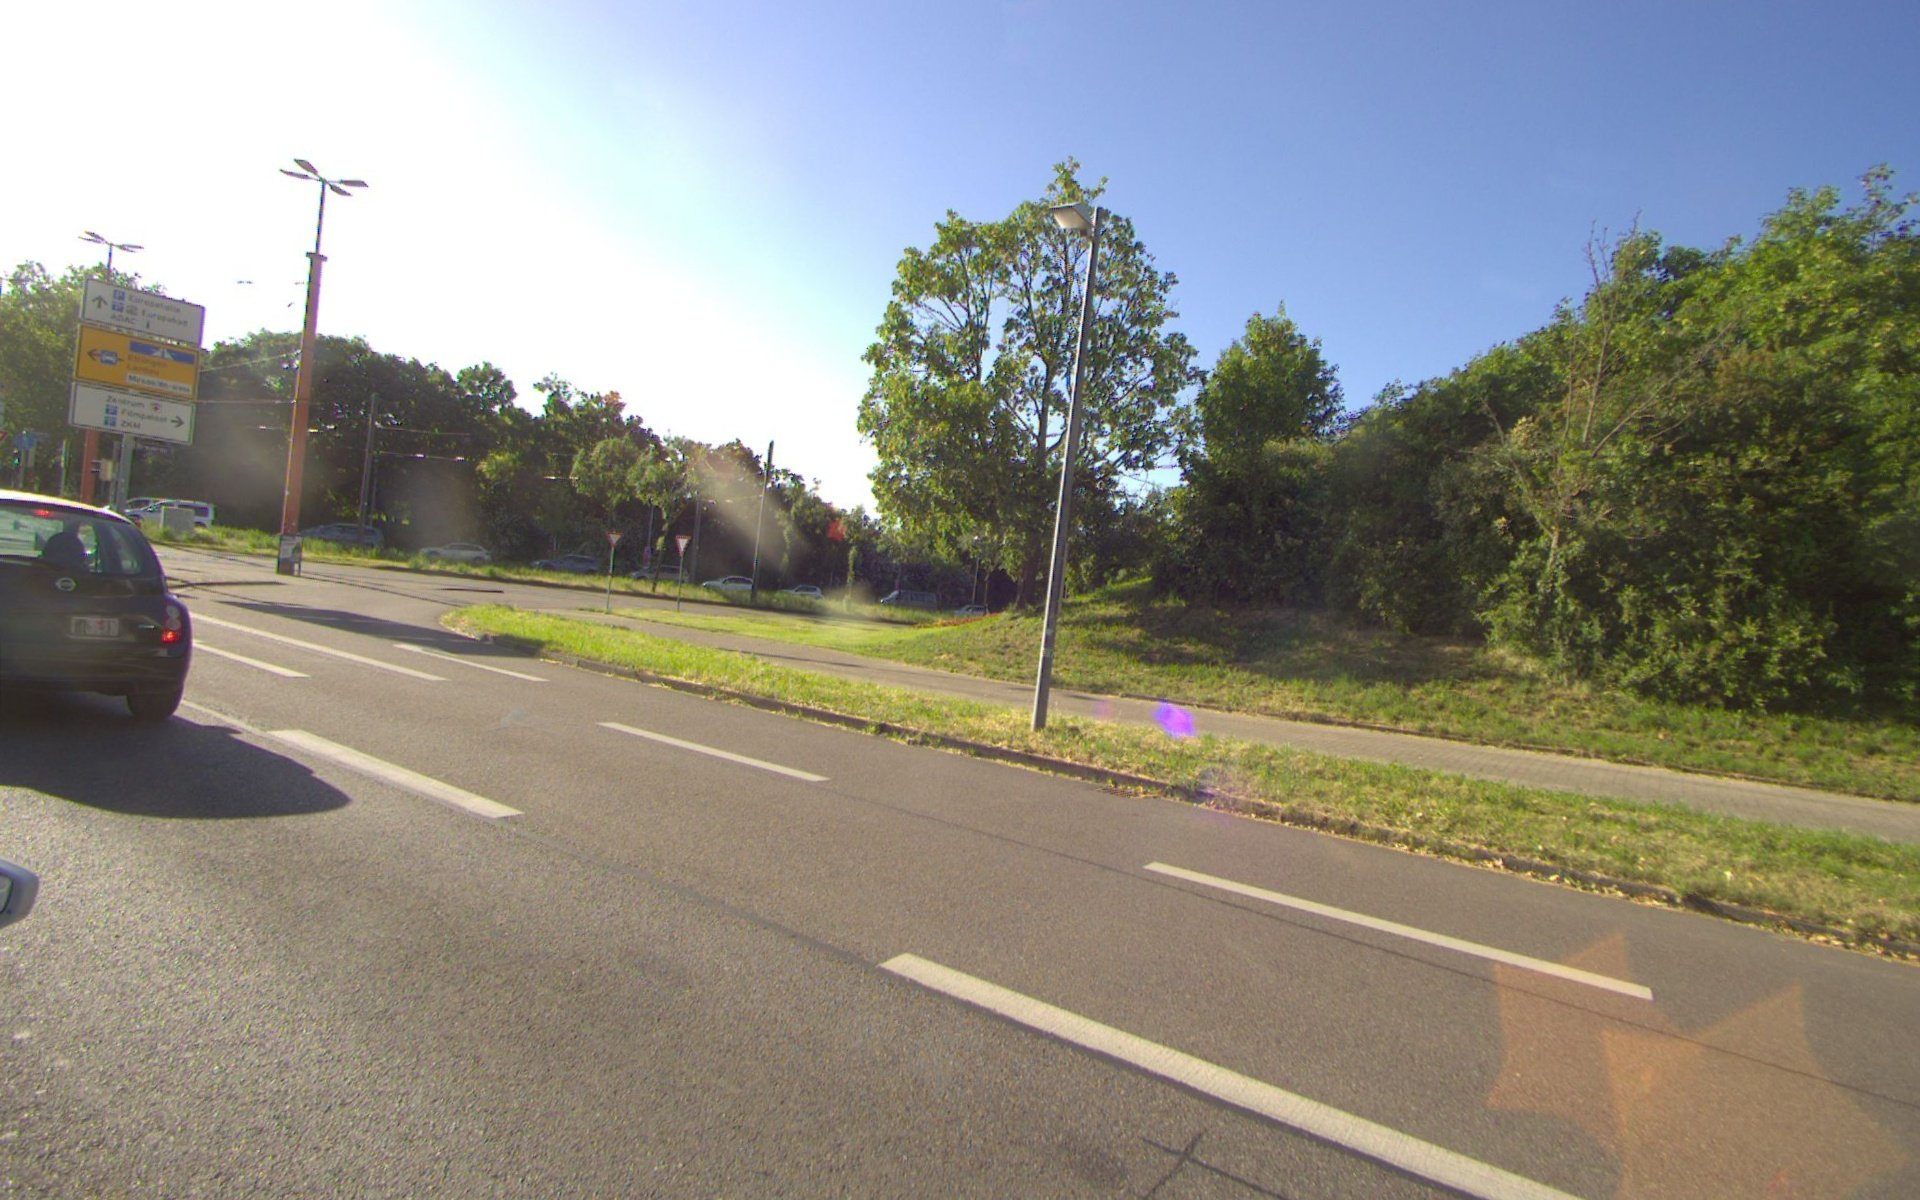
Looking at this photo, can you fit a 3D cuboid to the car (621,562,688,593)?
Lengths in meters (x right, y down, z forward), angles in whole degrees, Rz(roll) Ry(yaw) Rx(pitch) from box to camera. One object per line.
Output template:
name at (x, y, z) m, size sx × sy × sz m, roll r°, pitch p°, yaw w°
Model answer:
car at (-21.473, -1.580, 70.754) m, size 4.087 × 1.664 × 1.839 m, roll 7°, pitch 0°, yaw -29°

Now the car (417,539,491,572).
car at (-31.905, -2.805, 63.418) m, size 3.937 × 1.458 × 1.673 m, roll 9°, pitch -2°, yaw -32°

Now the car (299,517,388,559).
car at (-35.372, -3.525, 57.787) m, size 4.151 × 1.663 × 1.746 m, roll 9°, pitch -2°, yaw -32°

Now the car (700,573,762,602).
car at (-15.903, -0.847, 69.803) m, size 3.789 × 1.541 × 1.683 m, roll 7°, pitch 0°, yaw -29°

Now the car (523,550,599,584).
car at (-25.386, -2.084, 63.999) m, size 4.092 × 1.617 × 1.813 m, roll 7°, pitch 0°, yaw -33°

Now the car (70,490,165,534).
car at (-46.002, -4.773, 55.030) m, size 3.619 × 1.674 × 1.666 m, roll 9°, pitch -2°, yaw -33°

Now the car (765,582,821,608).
car at (-12.503, -0.378, 75.176) m, size 3.706 × 1.491 × 1.589 m, roll 7°, pitch 0°, yaw -29°

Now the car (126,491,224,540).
car at (-42.010, -4.507, 53.955) m, size 3.810 × 1.912 × 1.748 m, roll 9°, pitch -2°, yaw -34°

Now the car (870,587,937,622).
car at (-4.281, 0.331, 76.491) m, size 4.535 × 2.038 × 1.984 m, roll 7°, pitch 0°, yaw -30°

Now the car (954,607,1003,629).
car at (1.558, 1.510, 83.798) m, size 3.803 × 1.278 × 1.590 m, roll 9°, pitch -2°, yaw -32°

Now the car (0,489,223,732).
car at (-7.330, -0.069, 7.522) m, size 3.555 × 1.518 × 1.656 m, roll 7°, pitch -1°, yaw 33°
